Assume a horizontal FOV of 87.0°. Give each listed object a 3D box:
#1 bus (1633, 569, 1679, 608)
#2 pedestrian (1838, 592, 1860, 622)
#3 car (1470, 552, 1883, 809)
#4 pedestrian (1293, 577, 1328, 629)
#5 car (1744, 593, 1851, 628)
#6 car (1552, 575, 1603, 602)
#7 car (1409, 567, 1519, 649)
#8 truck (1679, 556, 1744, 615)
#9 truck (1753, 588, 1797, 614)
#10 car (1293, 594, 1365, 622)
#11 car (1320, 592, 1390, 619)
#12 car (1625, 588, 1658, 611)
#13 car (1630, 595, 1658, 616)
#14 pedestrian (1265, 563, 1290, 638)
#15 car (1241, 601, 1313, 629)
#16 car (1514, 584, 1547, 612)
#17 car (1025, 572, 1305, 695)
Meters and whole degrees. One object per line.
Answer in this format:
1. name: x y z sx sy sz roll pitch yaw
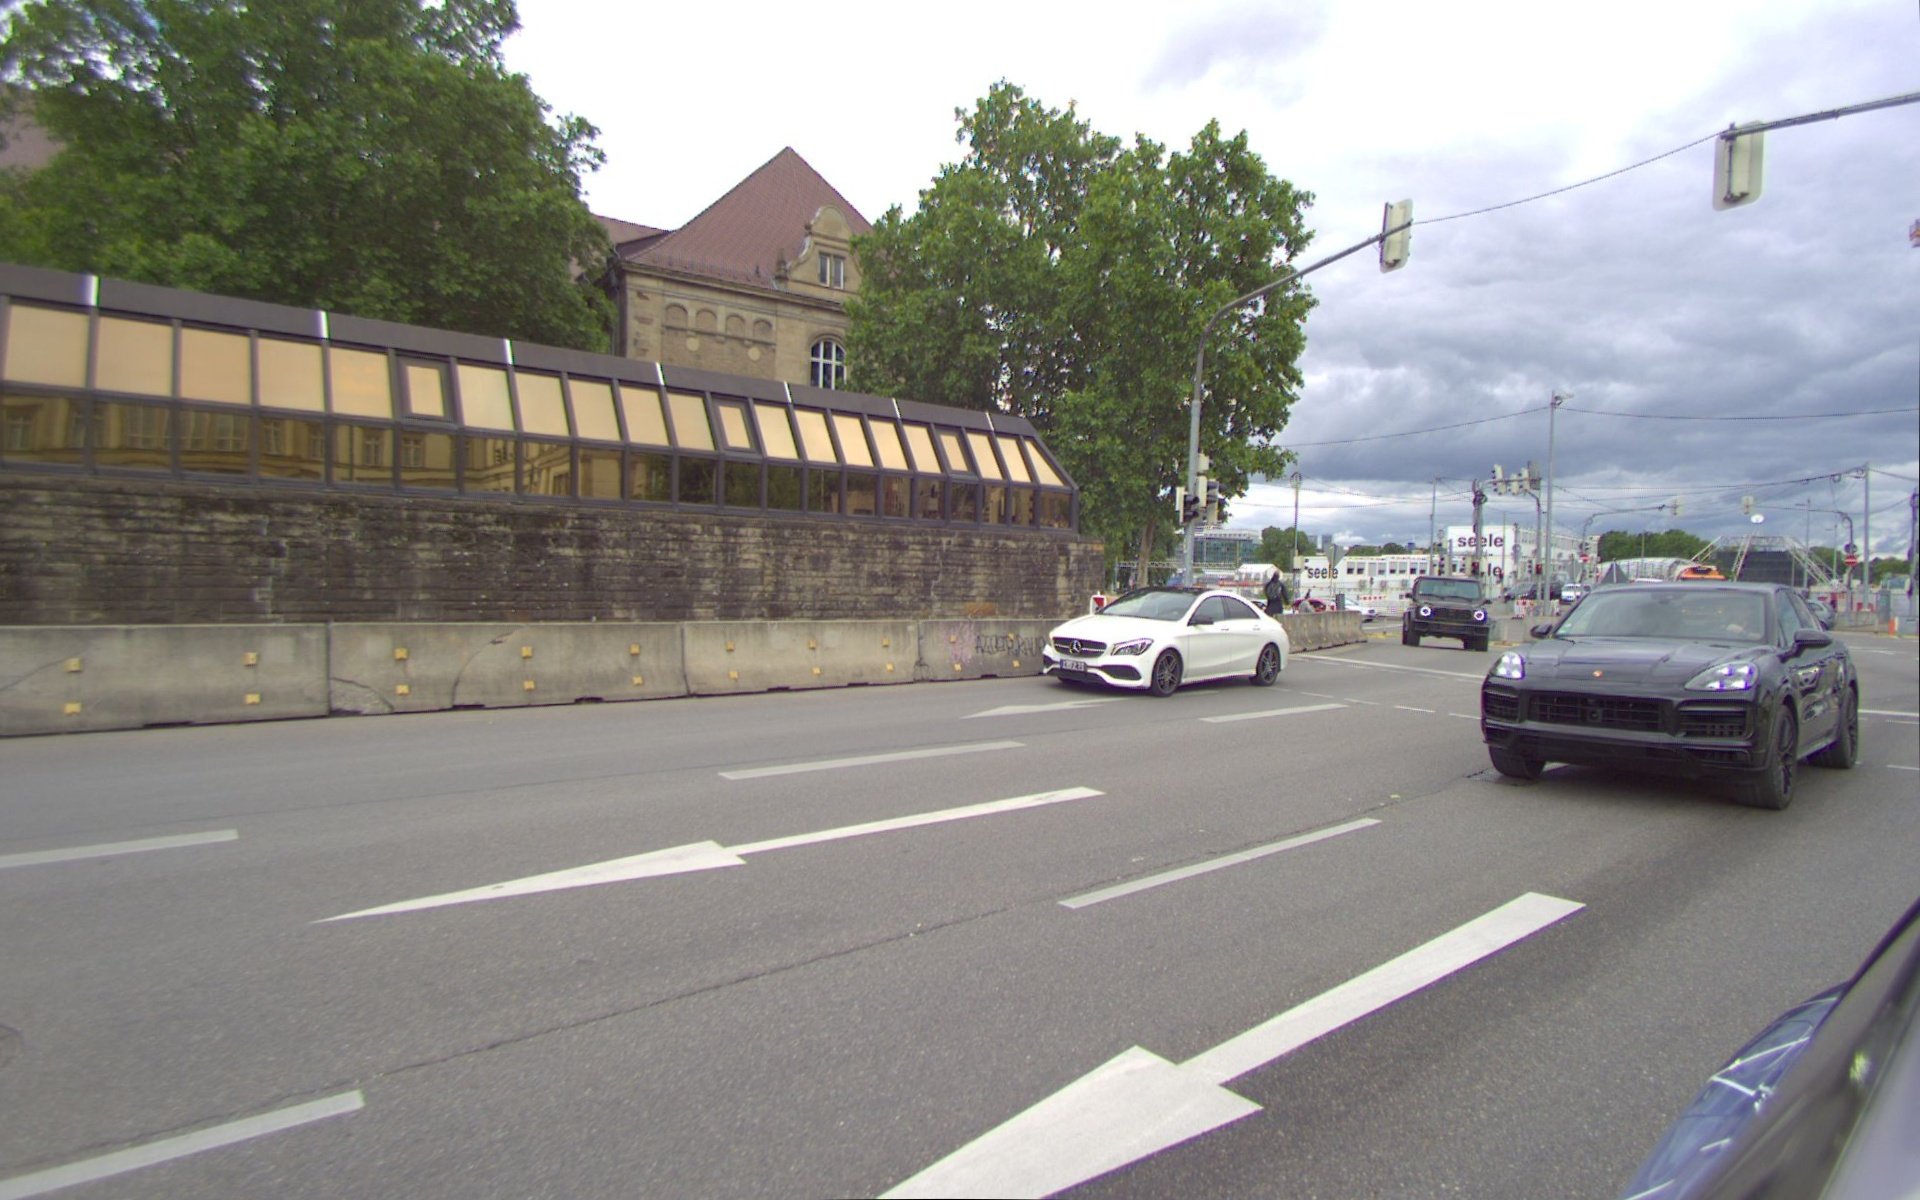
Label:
1. bus: 61.474 -0.967 89.252 2.799 3.209 9.273 3 1 37
2. pedestrian: 49.687 0.388 56.574 0.844 1.612 0.616 0 0 31
3. car: 6.405 0.573 8.831 4.528 1.669 1.953 1 -2 -41
4. pedestrian: 14.052 0.095 40.625 1.186 2.039 1.189 1 0 14
5. car: 40.750 0.499 49.298 3.942 1.594 1.665 0 -2 44
6. car: 50.608 -0.919 82.877 4.084 2.039 2.001 2 1 -34
7. car: 13.557 0.224 27.121 1.929 1.962 3.622 4 1 37
8. truck: 50.684 -1.024 68.483 2.890 3.720 8.920 2 2 33
9. truck: 51.835 0.033 64.417 1.815 1.559 3.714 2 1 35
10. car: 20.697 0.414 56.824 1.660 1.453 3.446 -1 2 -36
11. car: 22.890 0.303 58.713 1.663 1.453 3.446 -2 2 -36
12. car: 46.354 -0.054 68.906 1.775 1.453 4.019 2 1 34
13. car: 49.856 0.392 73.821 1.641 1.453 3.575 2 1 34
14. pedestrian: 8.866 0.011 28.266 0.615 2.039 0.844 0 0 22
15. car: 17.457 0.822 55.876 1.635 1.453 3.443 -2 1 -38
16. car: 44.065 -0.126 78.152 1.985 2.039 3.954 2 1 32
17. car: 3.062 0.404 14.561 4.307 1.453 1.737 0 3 -43
